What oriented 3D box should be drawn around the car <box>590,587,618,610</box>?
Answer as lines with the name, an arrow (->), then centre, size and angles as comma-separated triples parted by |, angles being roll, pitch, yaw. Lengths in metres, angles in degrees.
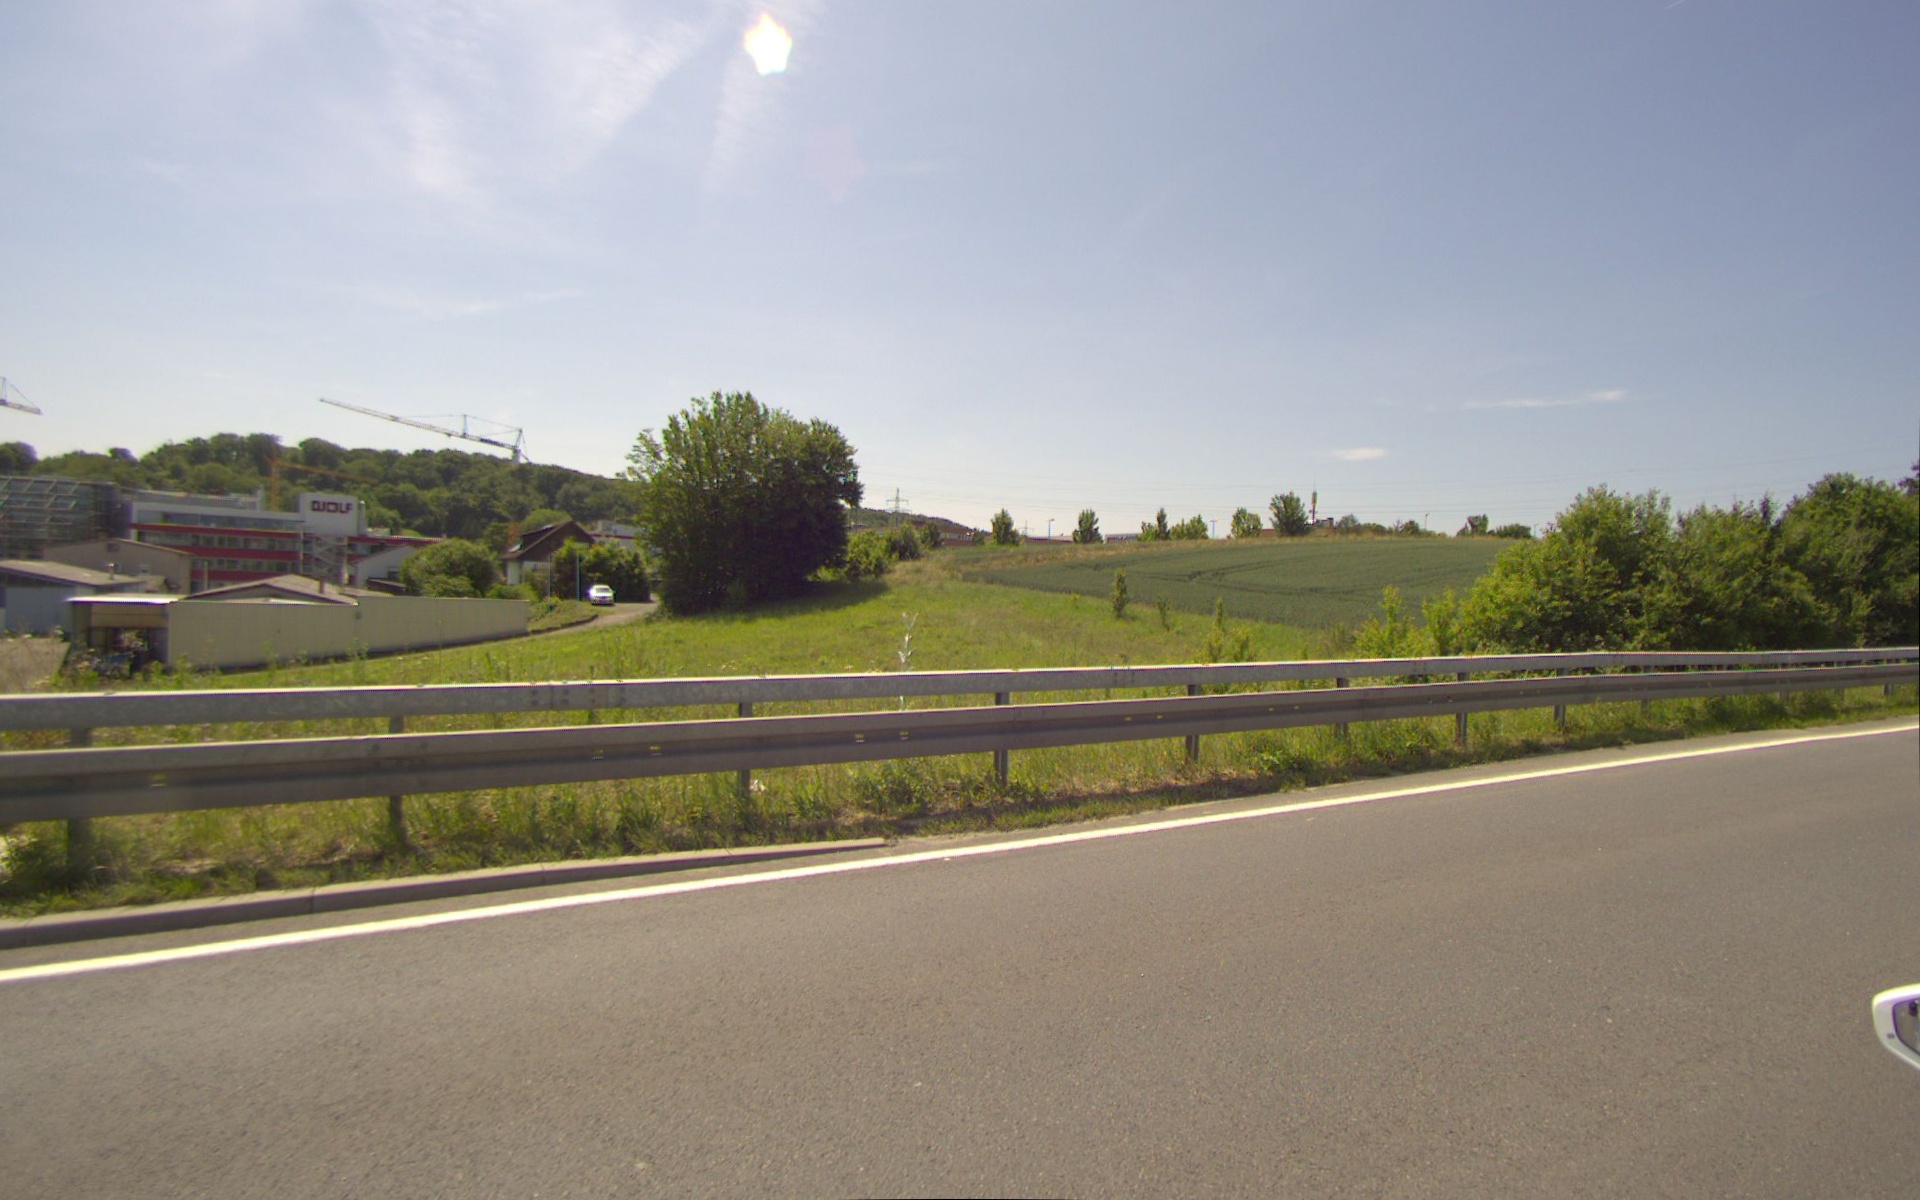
car -> -29.100, -0.176, 82.035 | 1.807, 1.625, 3.974 | -2, 4, -25
